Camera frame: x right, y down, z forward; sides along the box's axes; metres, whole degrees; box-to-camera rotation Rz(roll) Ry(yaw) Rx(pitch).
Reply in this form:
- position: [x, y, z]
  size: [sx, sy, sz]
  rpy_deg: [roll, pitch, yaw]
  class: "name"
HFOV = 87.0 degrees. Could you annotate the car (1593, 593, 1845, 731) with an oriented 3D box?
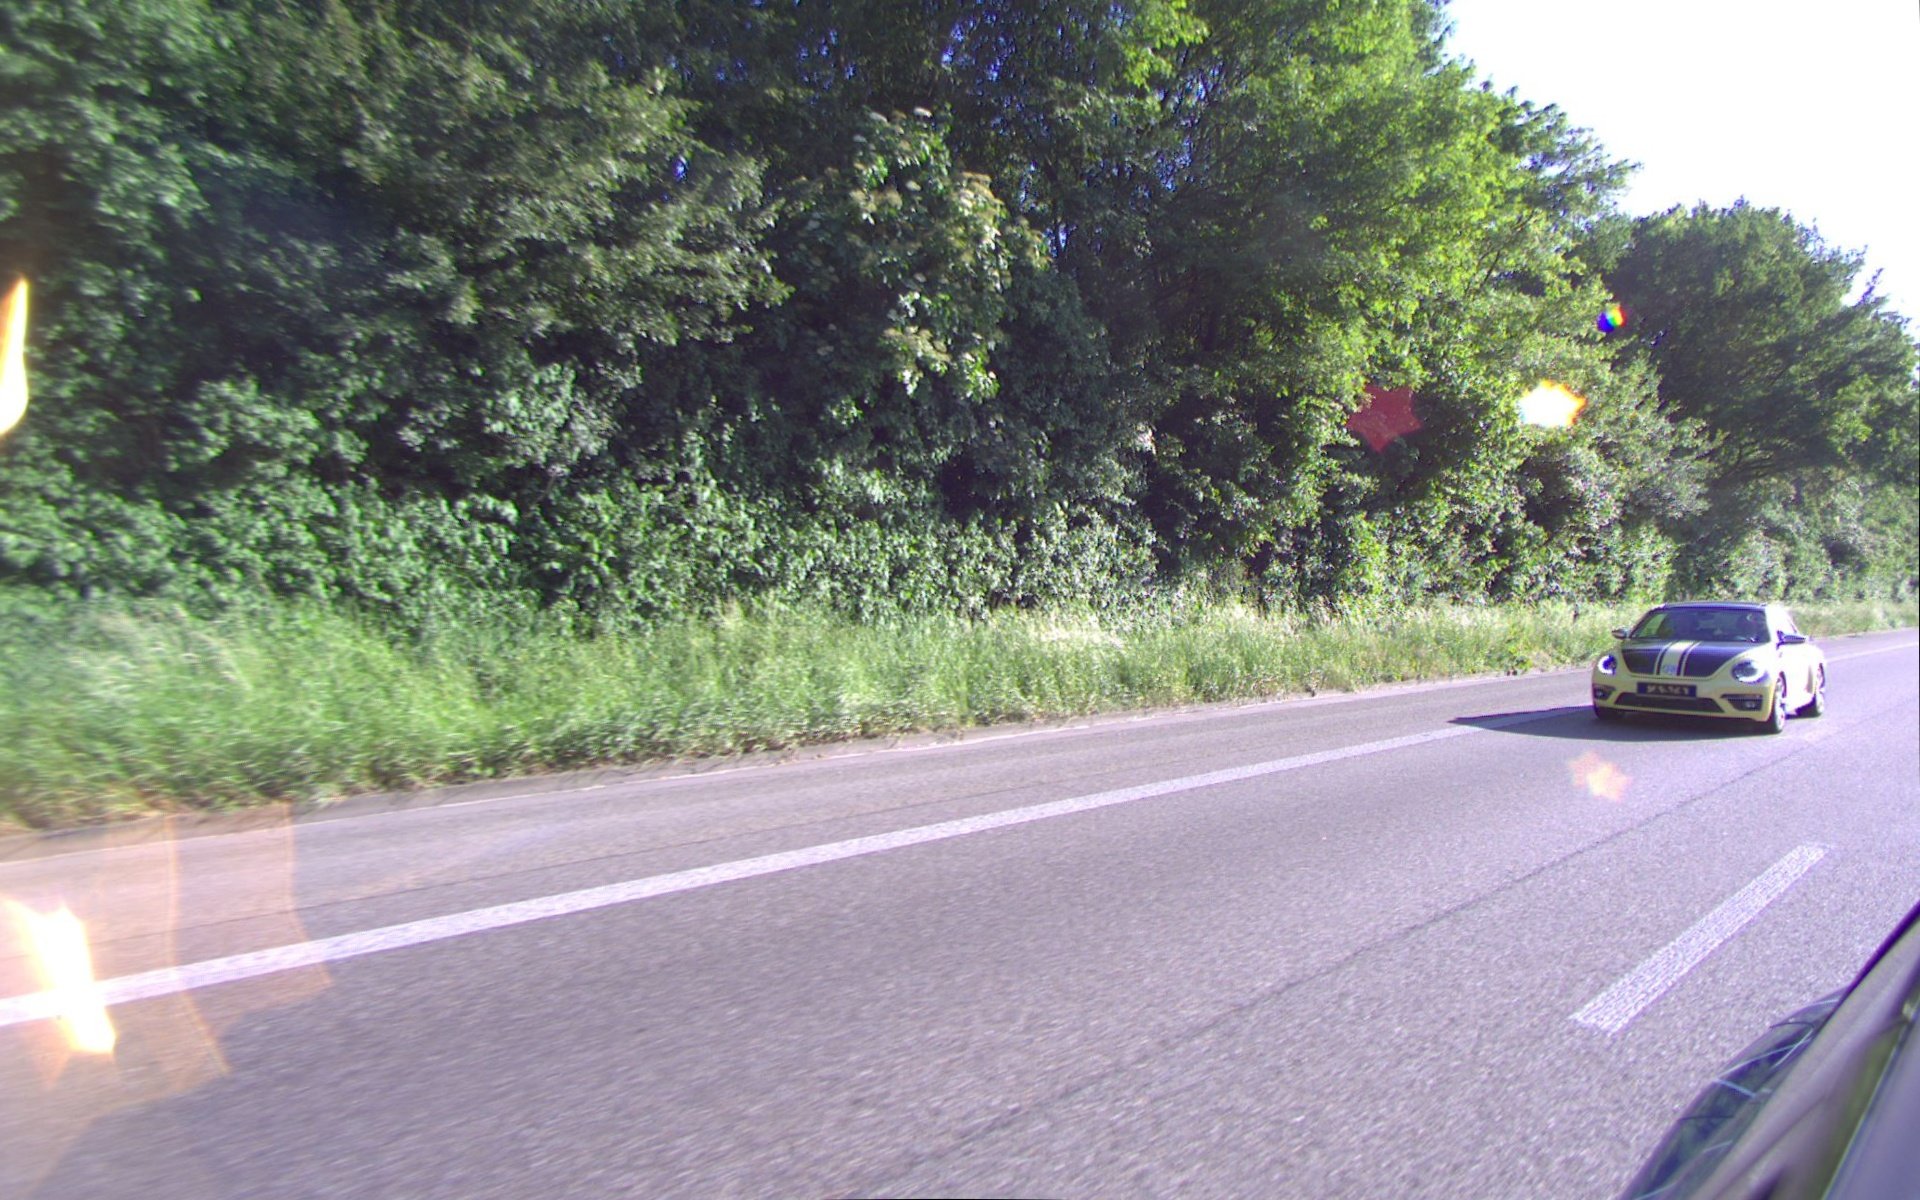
- position: [9.570, 0.650, 12.662]
  size: [3.810, 1.467, 1.793]
  rpy_deg: [0, 0, -41]
  class: "car"
